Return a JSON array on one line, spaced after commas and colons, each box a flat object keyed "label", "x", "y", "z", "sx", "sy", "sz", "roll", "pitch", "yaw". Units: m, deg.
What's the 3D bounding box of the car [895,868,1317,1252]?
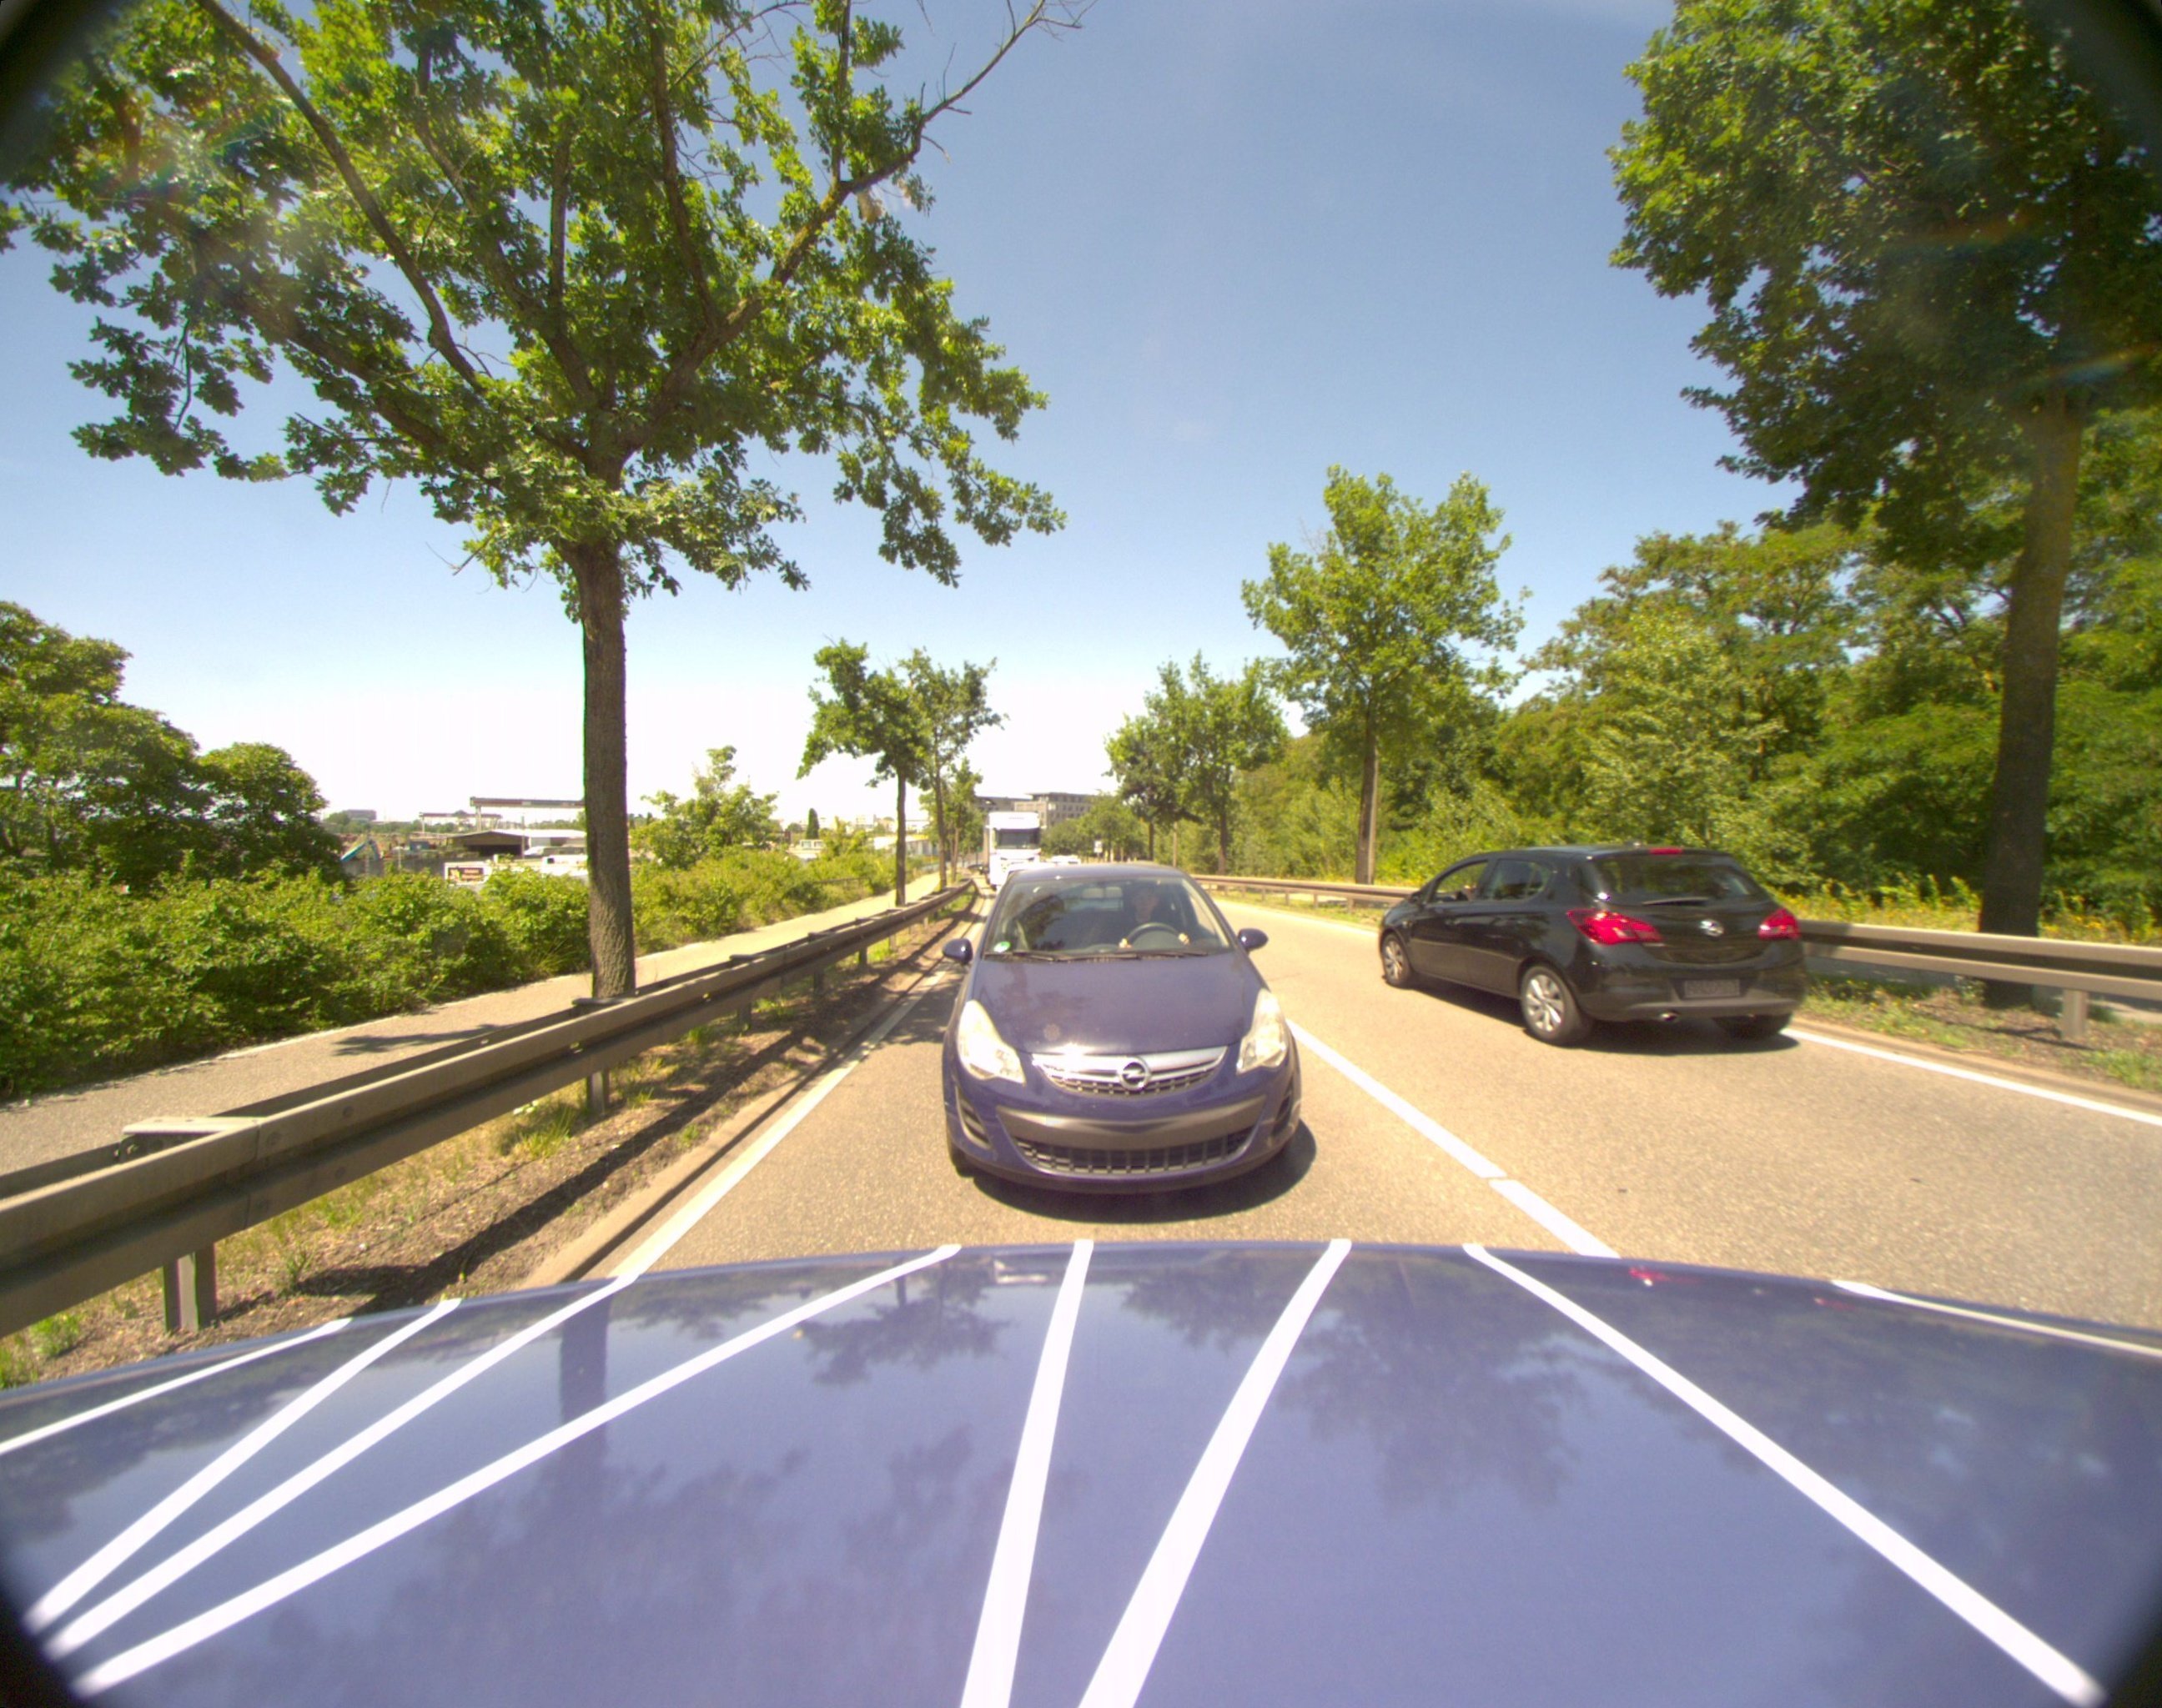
[{"label": "car", "x": 0.089, "y": 0.898, "z": 5.105, "sx": 1.720, "sy": 1.455, "sz": 3.837, "roll": -2, "pitch": 0, "yaw": -1}]

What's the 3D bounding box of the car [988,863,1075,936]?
[{"label": "car", "x": -1.167, "y": 0.976, "z": 18.017, "sx": 1.781, "sy": 1.398, "sz": 3.998, "roll": -2, "pitch": 0, "yaw": -4}]

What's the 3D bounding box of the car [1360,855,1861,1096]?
[{"label": "car", "x": 4.116, "y": 0.778, "z": 6.781, "sx": 1.675, "sy": 1.457, "sz": 3.819, "roll": -2, "pitch": 0, "yaw": -2}]

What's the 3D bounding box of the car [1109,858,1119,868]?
[{"label": "car", "x": 5.905, "y": 1.600, "z": 136.074, "sx": 1.753, "sy": 1.546, "sz": 4.127, "roll": -2, "pitch": 0, "yaw": 3}]

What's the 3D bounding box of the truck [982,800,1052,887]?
[{"label": "truck", "x": -4.215, "y": -0.521, "z": 45.549, "sx": 3.072, "sy": 4.146, "sz": 16.898, "roll": -2, "pitch": 0, "yaw": -8}]

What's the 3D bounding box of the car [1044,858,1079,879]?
[{"label": "car", "x": -1.500, "y": 1.049, "z": 57.136, "sx": 1.825, "sy": 1.413, "sz": 4.461, "roll": -2, "pitch": 0, "yaw": -11}]

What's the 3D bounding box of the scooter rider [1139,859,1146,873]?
[{"label": "scooter rider", "x": 7.651, "y": 1.462, "z": 94.678, "sx": 0.778, "sy": 1.648, "sz": 1.121, "roll": -2, "pitch": 1, "yaw": 6}]

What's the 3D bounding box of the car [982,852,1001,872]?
[{"label": "car", "x": -9.266, "y": 0.807, "z": 78.810, "sx": 1.781, "sy": 2.002, "sz": 3.997, "roll": -2, "pitch": 1, "yaw": -8}]

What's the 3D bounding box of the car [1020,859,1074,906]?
[{"label": "car", "x": -1.373, "y": 1.048, "z": 29.445, "sx": 1.781, "sy": 1.569, "sz": 3.997, "roll": -2, "pitch": 0, "yaw": -6}]

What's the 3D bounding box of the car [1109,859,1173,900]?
[{"label": "car", "x": 2.244, "y": 0.925, "z": 29.393, "sx": 1.764, "sy": 1.388, "sz": 4.404, "roll": -2, "pitch": 0, "yaw": -4}]

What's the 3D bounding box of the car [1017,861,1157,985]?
[{"label": "car", "x": 0.070, "y": 0.924, "z": 11.920, "sx": 1.780, "sy": 1.498, "sz": 3.896, "roll": -2, "pitch": 0, "yaw": 0}]
